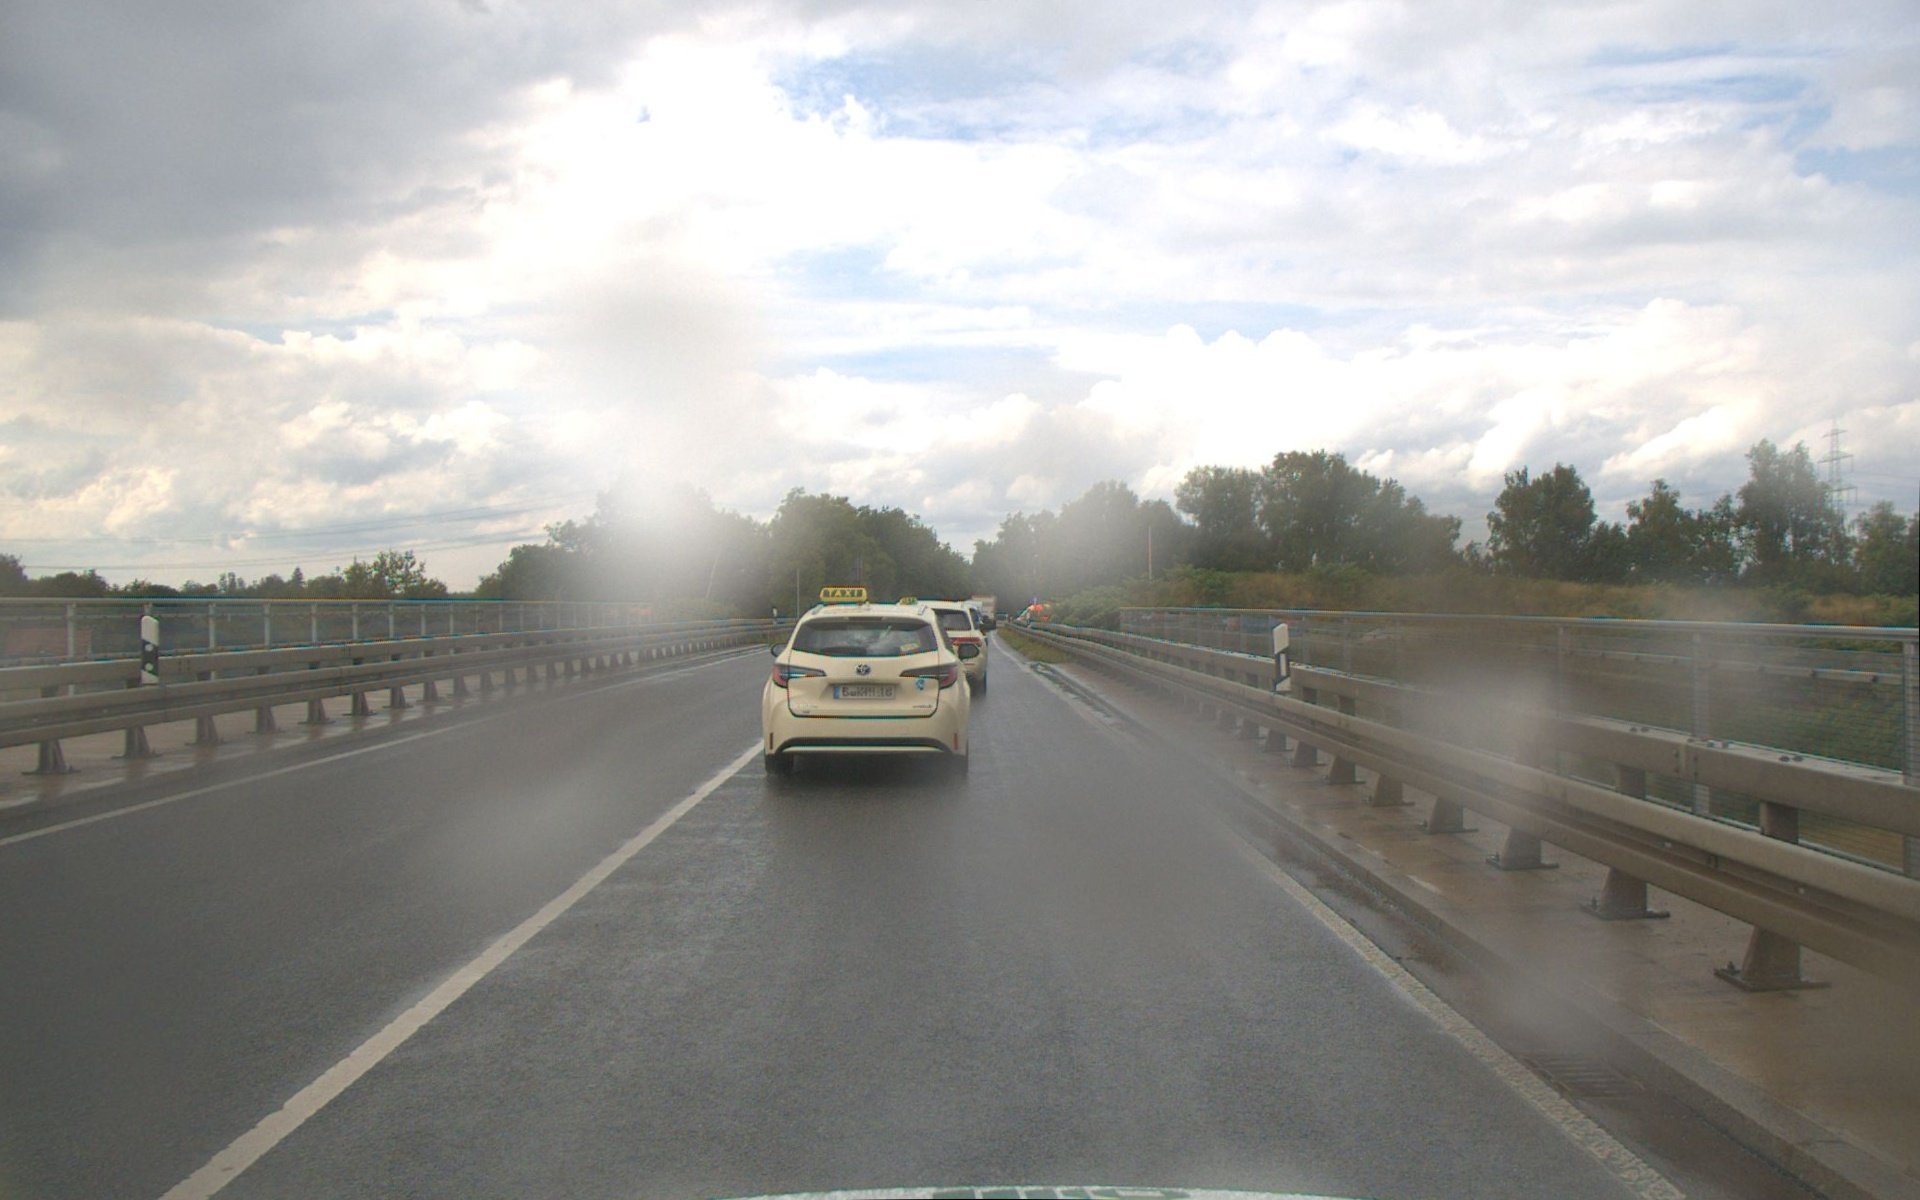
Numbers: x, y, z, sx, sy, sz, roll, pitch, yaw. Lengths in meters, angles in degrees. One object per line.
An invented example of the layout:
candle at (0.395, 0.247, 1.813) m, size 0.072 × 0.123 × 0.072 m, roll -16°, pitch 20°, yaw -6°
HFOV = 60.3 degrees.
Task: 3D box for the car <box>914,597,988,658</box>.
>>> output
car at (-0.238, 0.679, 43.213) m, size 1.816 × 1.468 × 4.170 m, roll 1°, pitch 0°, yaw 0°

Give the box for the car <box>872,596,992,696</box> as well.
car at (-0.442, 0.701, 27.436) m, size 1.816 × 1.468 × 4.170 m, roll 1°, pitch 0°, yaw 0°

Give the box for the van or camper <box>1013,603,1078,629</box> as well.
van or camper at (7.839, 1.485, 151.376) m, size 5.583 × 2.281 × 2.012 m, roll 1°, pitch 0°, yaw -15°

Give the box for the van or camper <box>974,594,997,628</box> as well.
van or camper at (2.707, 1.143, 179.063) m, size 2.285 × 3.625 × 6.306 m, roll 1°, pitch 0°, yaw 0°

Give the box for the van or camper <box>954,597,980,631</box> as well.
van or camper at (0.637, 1.241, 150.365) m, size 2.285 × 2.914 × 6.306 m, roll 1°, pitch 0°, yaw 0°

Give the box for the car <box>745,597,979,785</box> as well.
car at (-0.781, 0.711, 15.057) m, size 1.816 × 1.418 × 4.170 m, roll 1°, pitch 0°, yaw 0°
